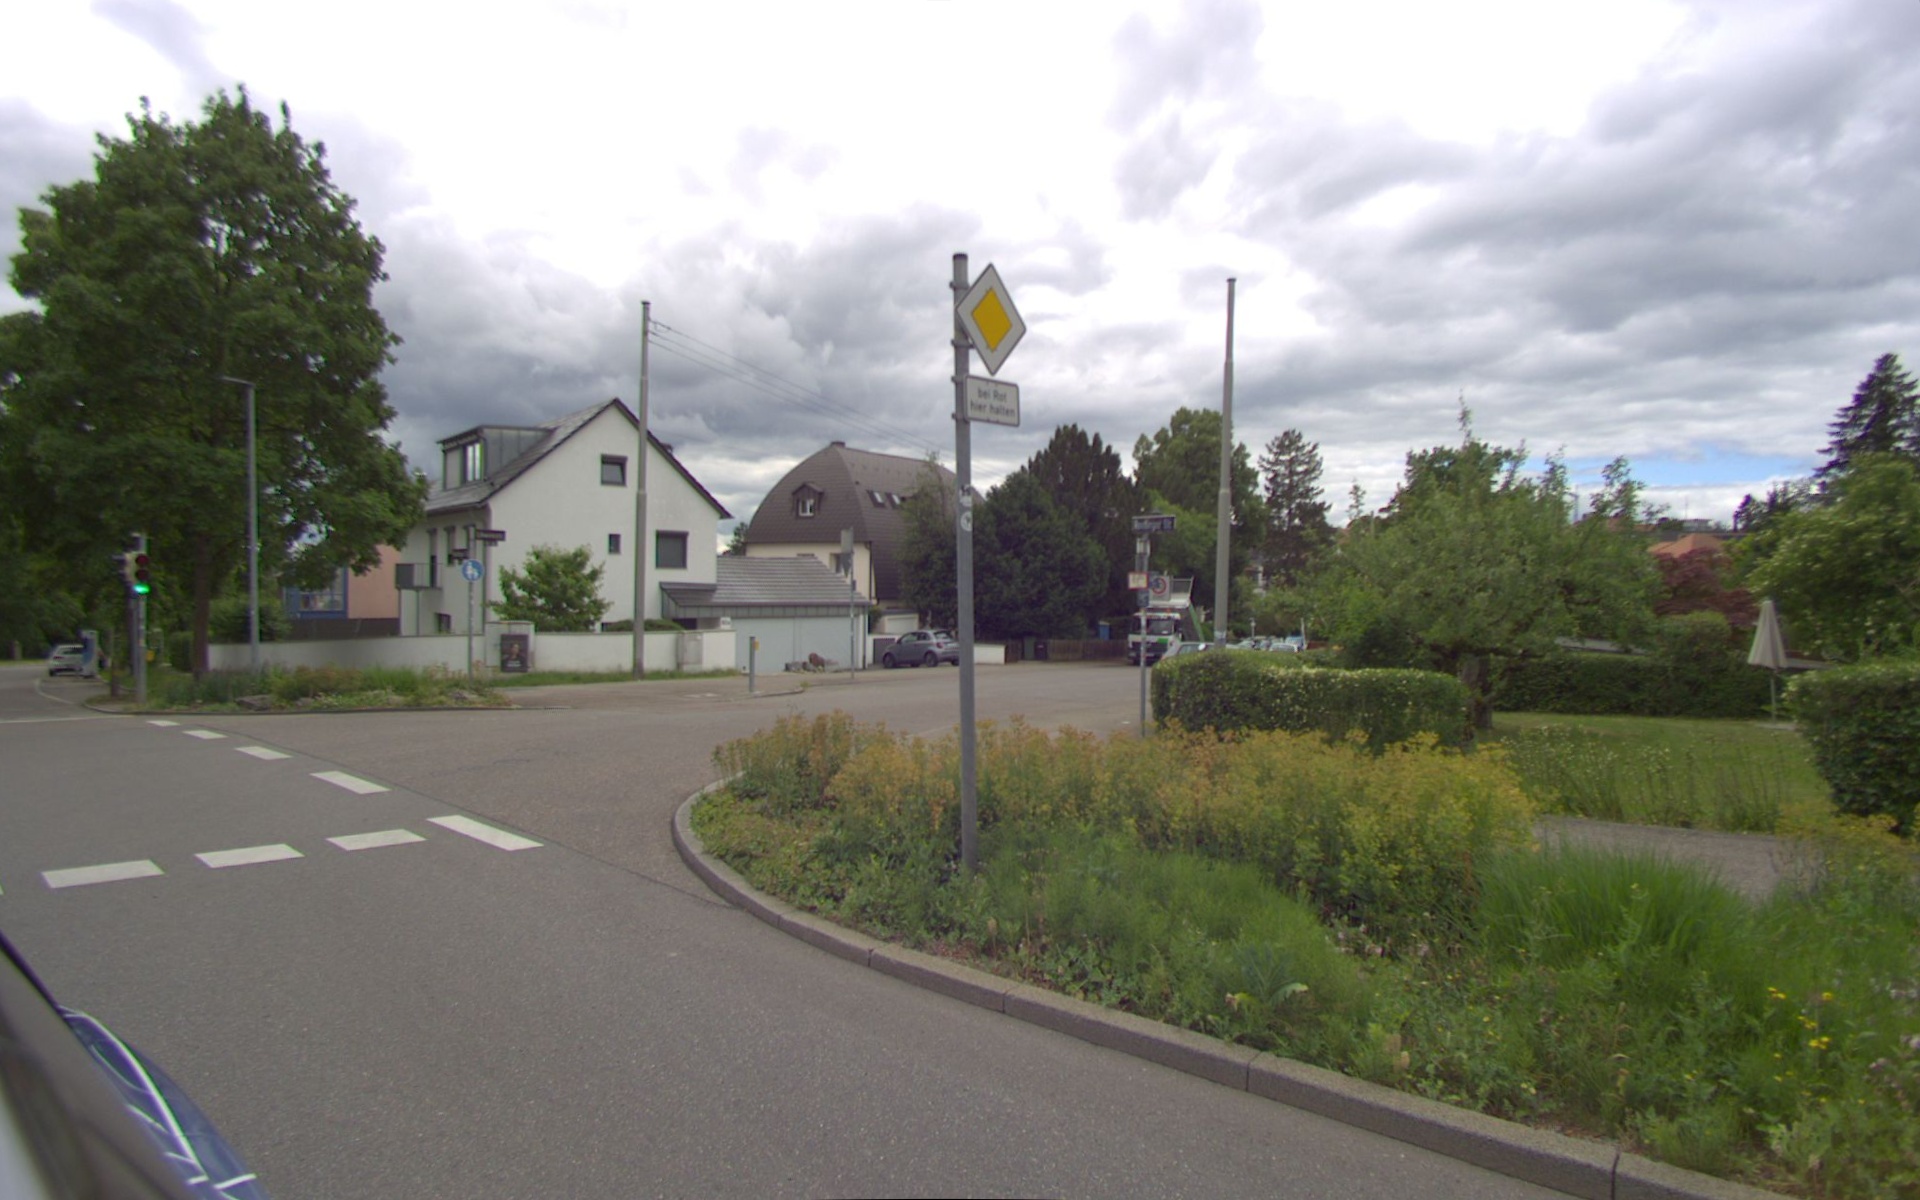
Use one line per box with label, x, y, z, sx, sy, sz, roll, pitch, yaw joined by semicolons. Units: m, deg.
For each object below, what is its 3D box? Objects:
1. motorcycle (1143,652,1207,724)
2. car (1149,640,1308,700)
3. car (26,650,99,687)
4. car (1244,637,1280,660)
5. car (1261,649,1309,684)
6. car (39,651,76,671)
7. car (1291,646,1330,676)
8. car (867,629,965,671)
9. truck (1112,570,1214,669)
motorcycle;3.863;1.530;18.057;0.769;1.148;2.131;1;-2;21
car;7.419;1.895;28.205;1.711;1.473;4.003;3;-3;-44
car;-43.406;3.277;49.048;1.966;1.564;4.011;2;-2;-32
car;22.058;3.545;73.904;1.868;1.564;3.788;0;-2;28
car;15.964;3.212;49.618;1.614;1.479;3.281;4;0;28
car;-75.579;5.101;84.813;1.542;1.524;3.407;2;-2;-29
car;20.389;3.523;58.826;1.614;1.479;3.281;4;0;28
car;-1.803;2.002;40.637;3.857;1.508;1.669;-5;-5;41
truck;10.399;1.013;51.131;3.138;4.586;7.884;1;-1;25
